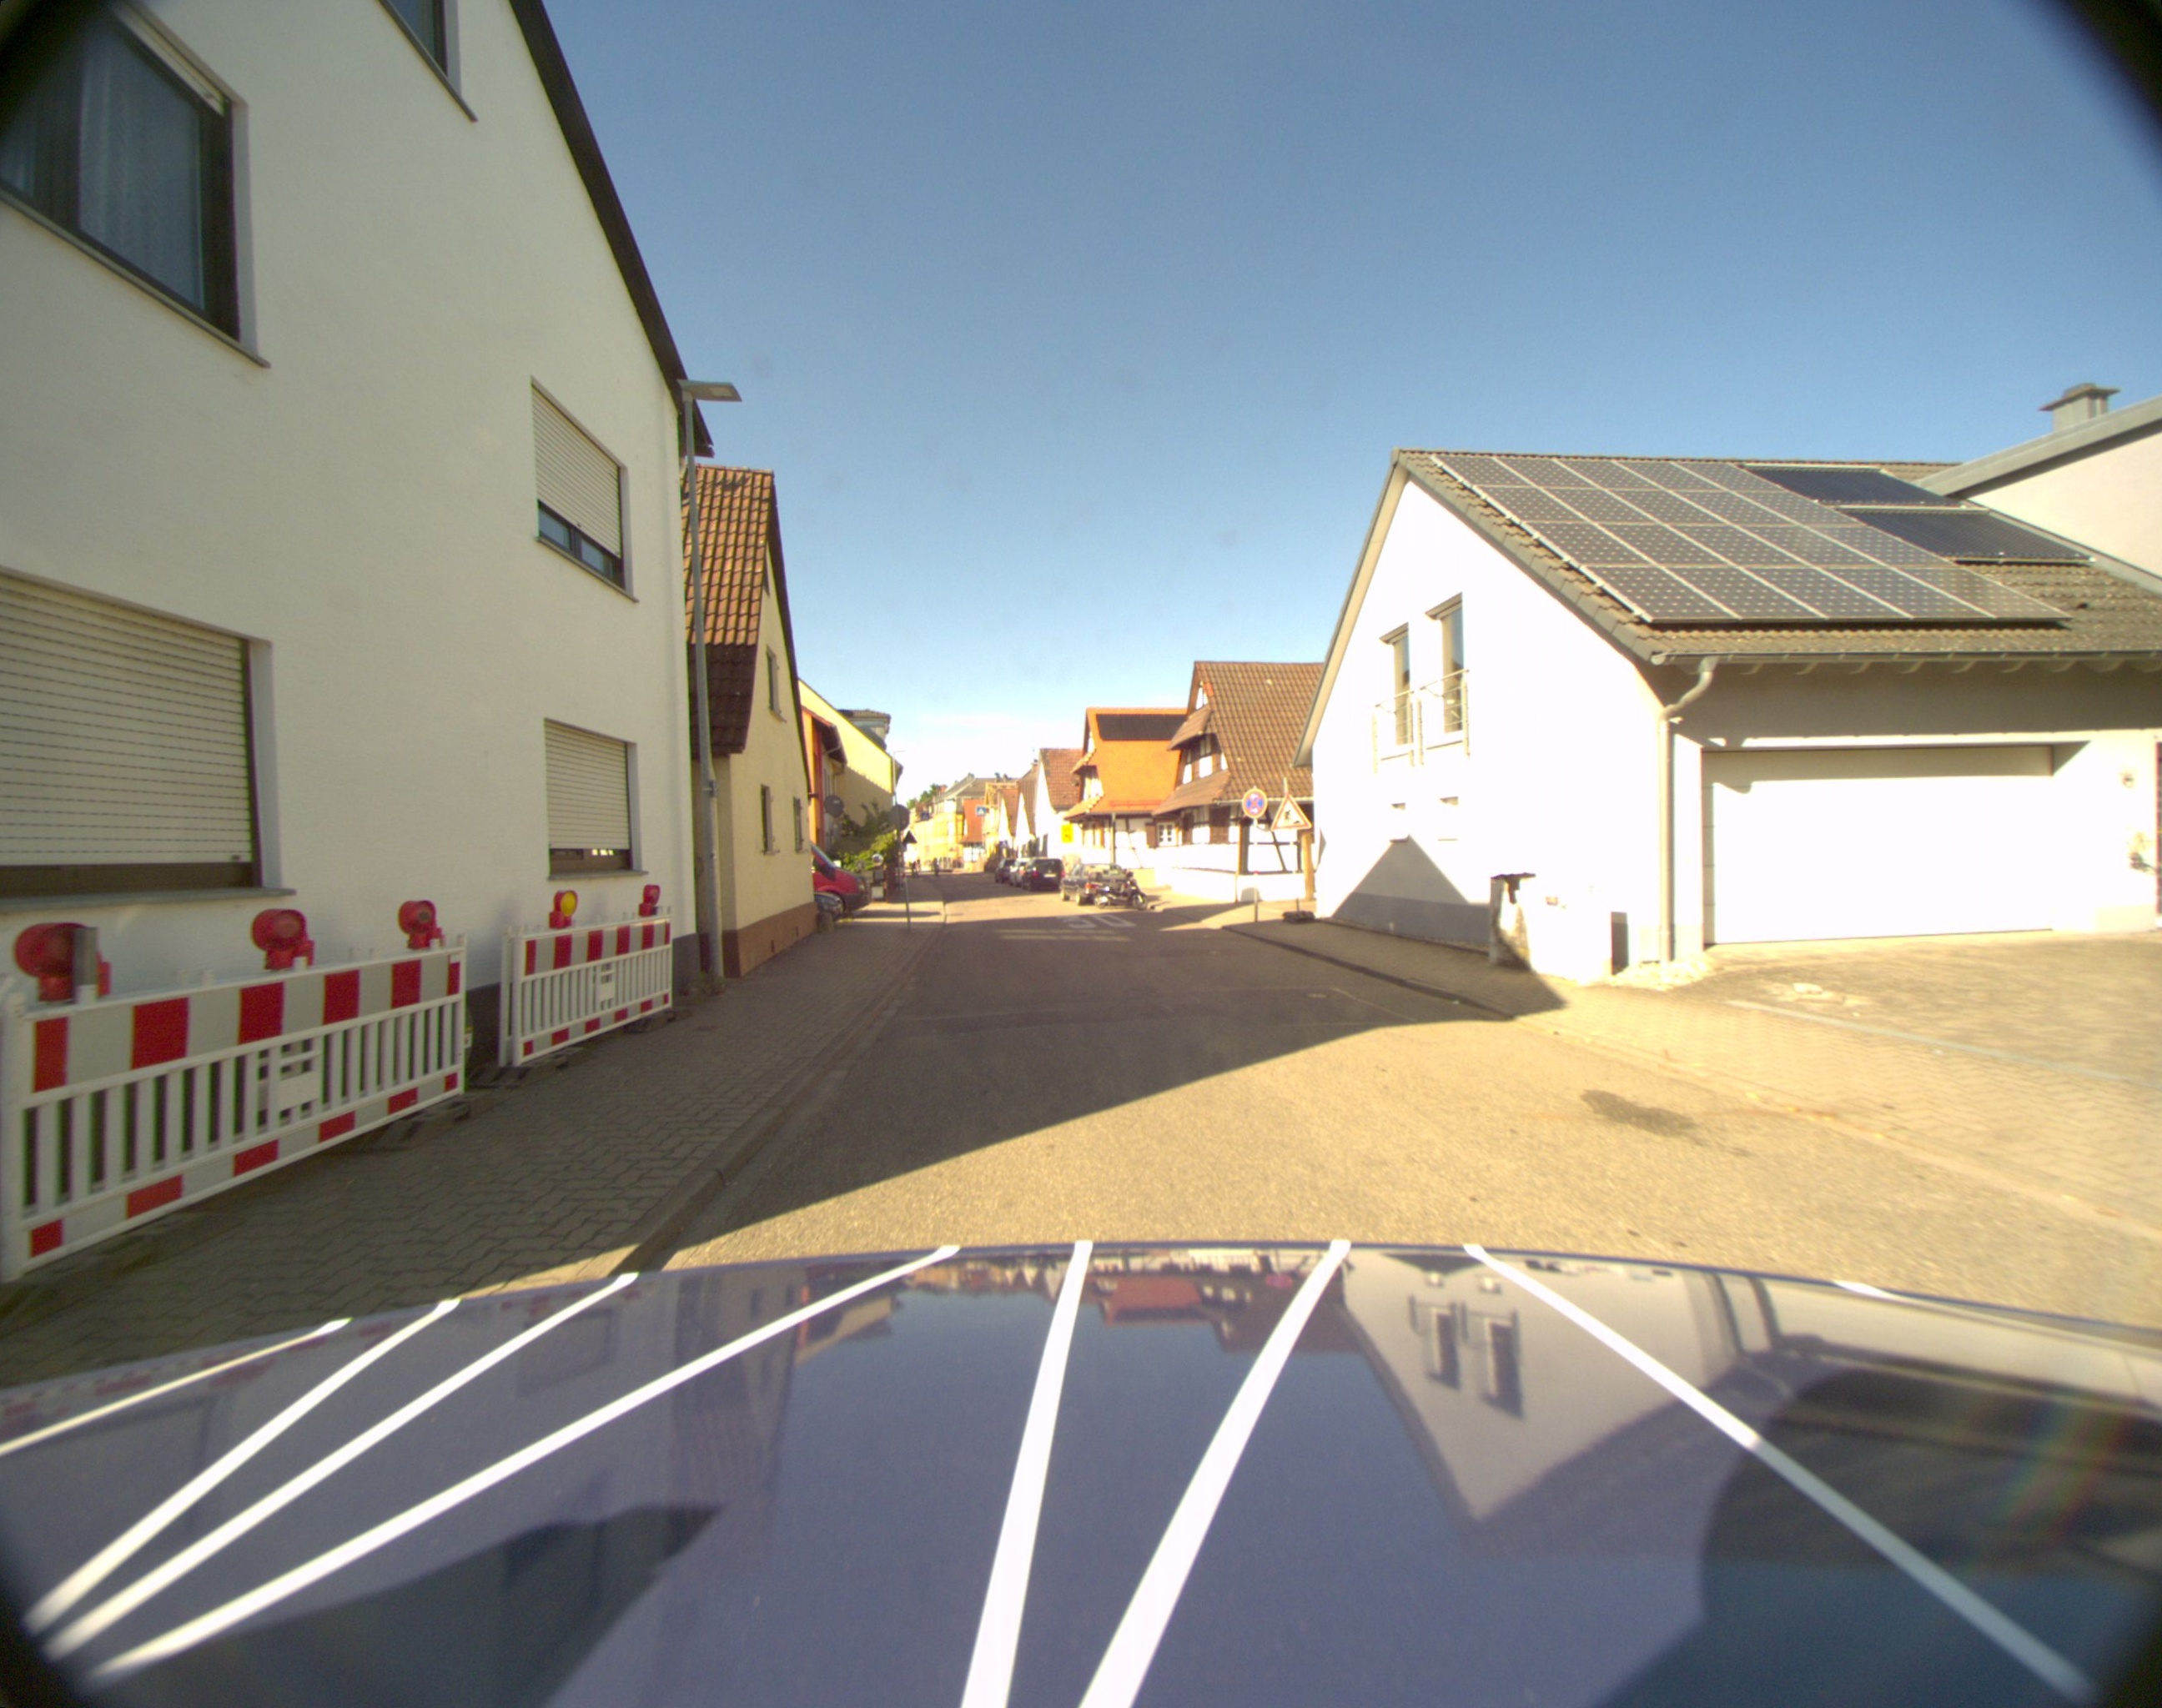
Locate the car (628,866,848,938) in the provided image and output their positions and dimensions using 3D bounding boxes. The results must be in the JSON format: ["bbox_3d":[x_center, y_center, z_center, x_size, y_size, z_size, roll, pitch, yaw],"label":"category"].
[{"bbox_3d":[-7.787,1.047,17.697,4.390,1.478,1.837,0,1,-13],"label":"car"}]

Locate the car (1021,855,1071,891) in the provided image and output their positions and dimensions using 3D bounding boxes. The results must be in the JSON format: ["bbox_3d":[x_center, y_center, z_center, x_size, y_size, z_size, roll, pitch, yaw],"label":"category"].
[{"bbox_3d":[-1.799,0.885,37.321,1.790,1.595,4.356,-2,1,-11],"label":"car"}]

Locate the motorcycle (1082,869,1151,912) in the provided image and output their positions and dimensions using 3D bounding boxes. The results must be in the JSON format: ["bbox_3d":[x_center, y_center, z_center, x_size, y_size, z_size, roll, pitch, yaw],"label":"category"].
[{"bbox_3d":[1.051,1.068,22.596,1.989,1.224,0.628,-1,0,33],"label":"motorcycle"}]

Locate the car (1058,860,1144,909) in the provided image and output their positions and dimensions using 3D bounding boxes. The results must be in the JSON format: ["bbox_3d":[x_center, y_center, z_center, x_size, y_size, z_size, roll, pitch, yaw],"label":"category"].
[{"bbox_3d":[0.555,0.952,25.941,1.851,1.398,5.030,-1,1,-11],"label":"car"}]

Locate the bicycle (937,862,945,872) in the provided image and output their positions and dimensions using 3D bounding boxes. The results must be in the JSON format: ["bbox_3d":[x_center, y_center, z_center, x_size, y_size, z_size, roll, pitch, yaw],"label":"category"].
[{"bbox_3d":[-13.506,1.240,73.167,0.625,0.775,1.910,-5,2,-13],"label":"bicycle"}]

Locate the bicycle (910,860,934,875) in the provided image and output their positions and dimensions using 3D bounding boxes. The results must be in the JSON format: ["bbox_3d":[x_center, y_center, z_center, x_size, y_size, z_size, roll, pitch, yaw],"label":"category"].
[{"bbox_3d":[-17.427,1.442,83.112,1.259,1.543,3.991,-5,2,-30],"label":"bicycle"}]

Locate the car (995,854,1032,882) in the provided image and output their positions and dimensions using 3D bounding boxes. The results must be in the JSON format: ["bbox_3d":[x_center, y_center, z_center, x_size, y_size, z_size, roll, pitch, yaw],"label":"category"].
[{"bbox_3d":[-4.398,0.871,49.265,1.749,1.604,3.994,-2,1,-14],"label":"car"}]

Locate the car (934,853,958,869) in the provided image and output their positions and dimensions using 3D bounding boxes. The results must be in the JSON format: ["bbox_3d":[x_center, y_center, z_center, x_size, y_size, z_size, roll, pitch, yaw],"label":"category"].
[{"bbox_3d":[-16.274,0.841,91.217,1.883,1.870,4.826,-1,1,-22],"label":"car"}]

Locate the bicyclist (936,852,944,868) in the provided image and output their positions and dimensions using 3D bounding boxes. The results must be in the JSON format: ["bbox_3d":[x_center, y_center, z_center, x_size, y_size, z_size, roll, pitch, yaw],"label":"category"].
[{"bbox_3d":[-13.547,0.599,73.136,0.611,1.525,0.654,-5,2,-13],"label":"bicyclist"}]

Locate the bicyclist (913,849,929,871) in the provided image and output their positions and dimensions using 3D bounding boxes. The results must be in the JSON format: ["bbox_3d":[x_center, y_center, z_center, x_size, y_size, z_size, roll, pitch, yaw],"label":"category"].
[{"bbox_3d":[-17.527,0.661,83.160,1.259,2.295,1.240,-5,3,-30],"label":"bicyclist"}]

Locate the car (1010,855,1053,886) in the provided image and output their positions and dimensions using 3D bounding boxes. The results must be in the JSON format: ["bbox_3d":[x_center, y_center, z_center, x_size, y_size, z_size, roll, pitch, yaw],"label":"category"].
[{"bbox_3d":[-2.831,0.869,42.503,1.822,1.558,4.163,-2,1,-11],"label":"car"}]

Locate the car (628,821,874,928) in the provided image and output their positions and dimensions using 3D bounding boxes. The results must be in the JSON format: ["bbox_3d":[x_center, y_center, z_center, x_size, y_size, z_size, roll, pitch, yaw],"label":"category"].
[{"bbox_3d":[-8.607,0.477,20.491,5.826,2.640,1.964,0,2,-15],"label":"car"}]
